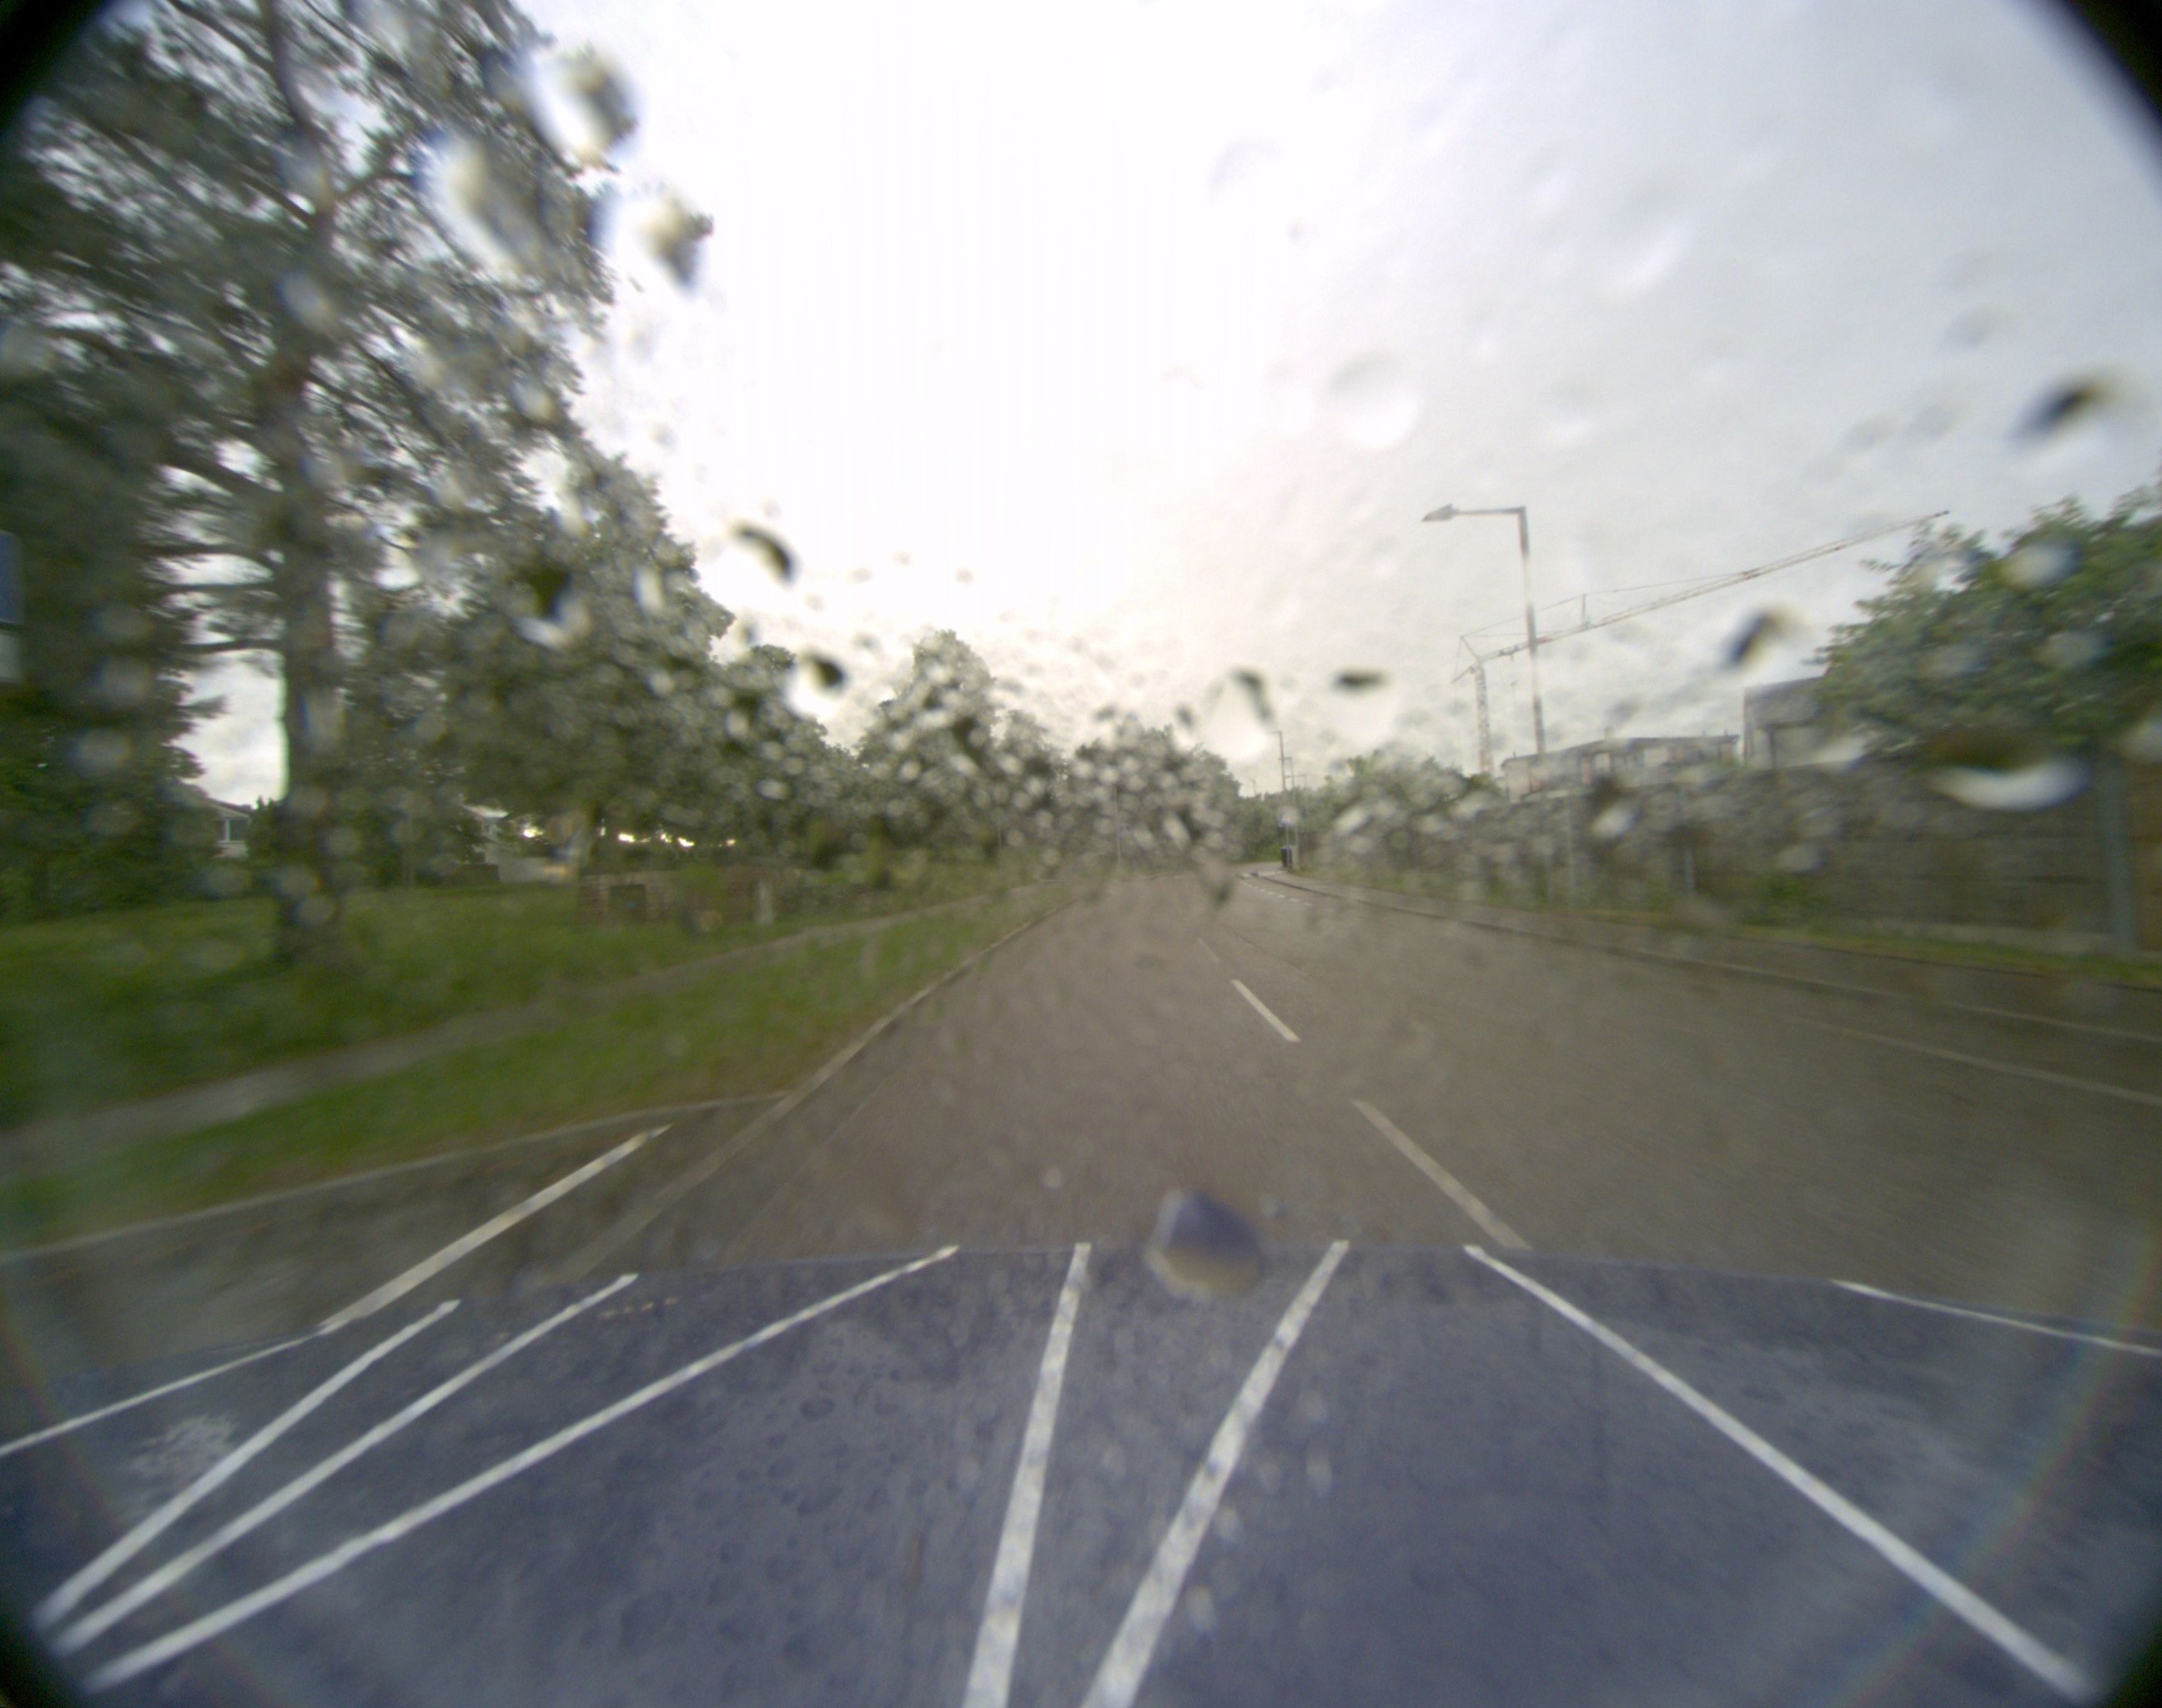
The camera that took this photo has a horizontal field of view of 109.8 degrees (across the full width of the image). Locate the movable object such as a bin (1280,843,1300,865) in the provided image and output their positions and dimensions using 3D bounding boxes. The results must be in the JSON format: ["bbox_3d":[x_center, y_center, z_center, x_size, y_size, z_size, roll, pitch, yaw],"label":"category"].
[{"bbox_3d":[13.922,-0.024,50.675,1.133,1.314,1.364,-7,-1,15],"label":"movable object such as a bin"}]

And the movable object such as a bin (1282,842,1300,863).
[{"bbox_3d":[14.971,-0.103,54.148,1.133,1.331,1.400,-6,-1,16],"label":"movable object such as a bin"}]
